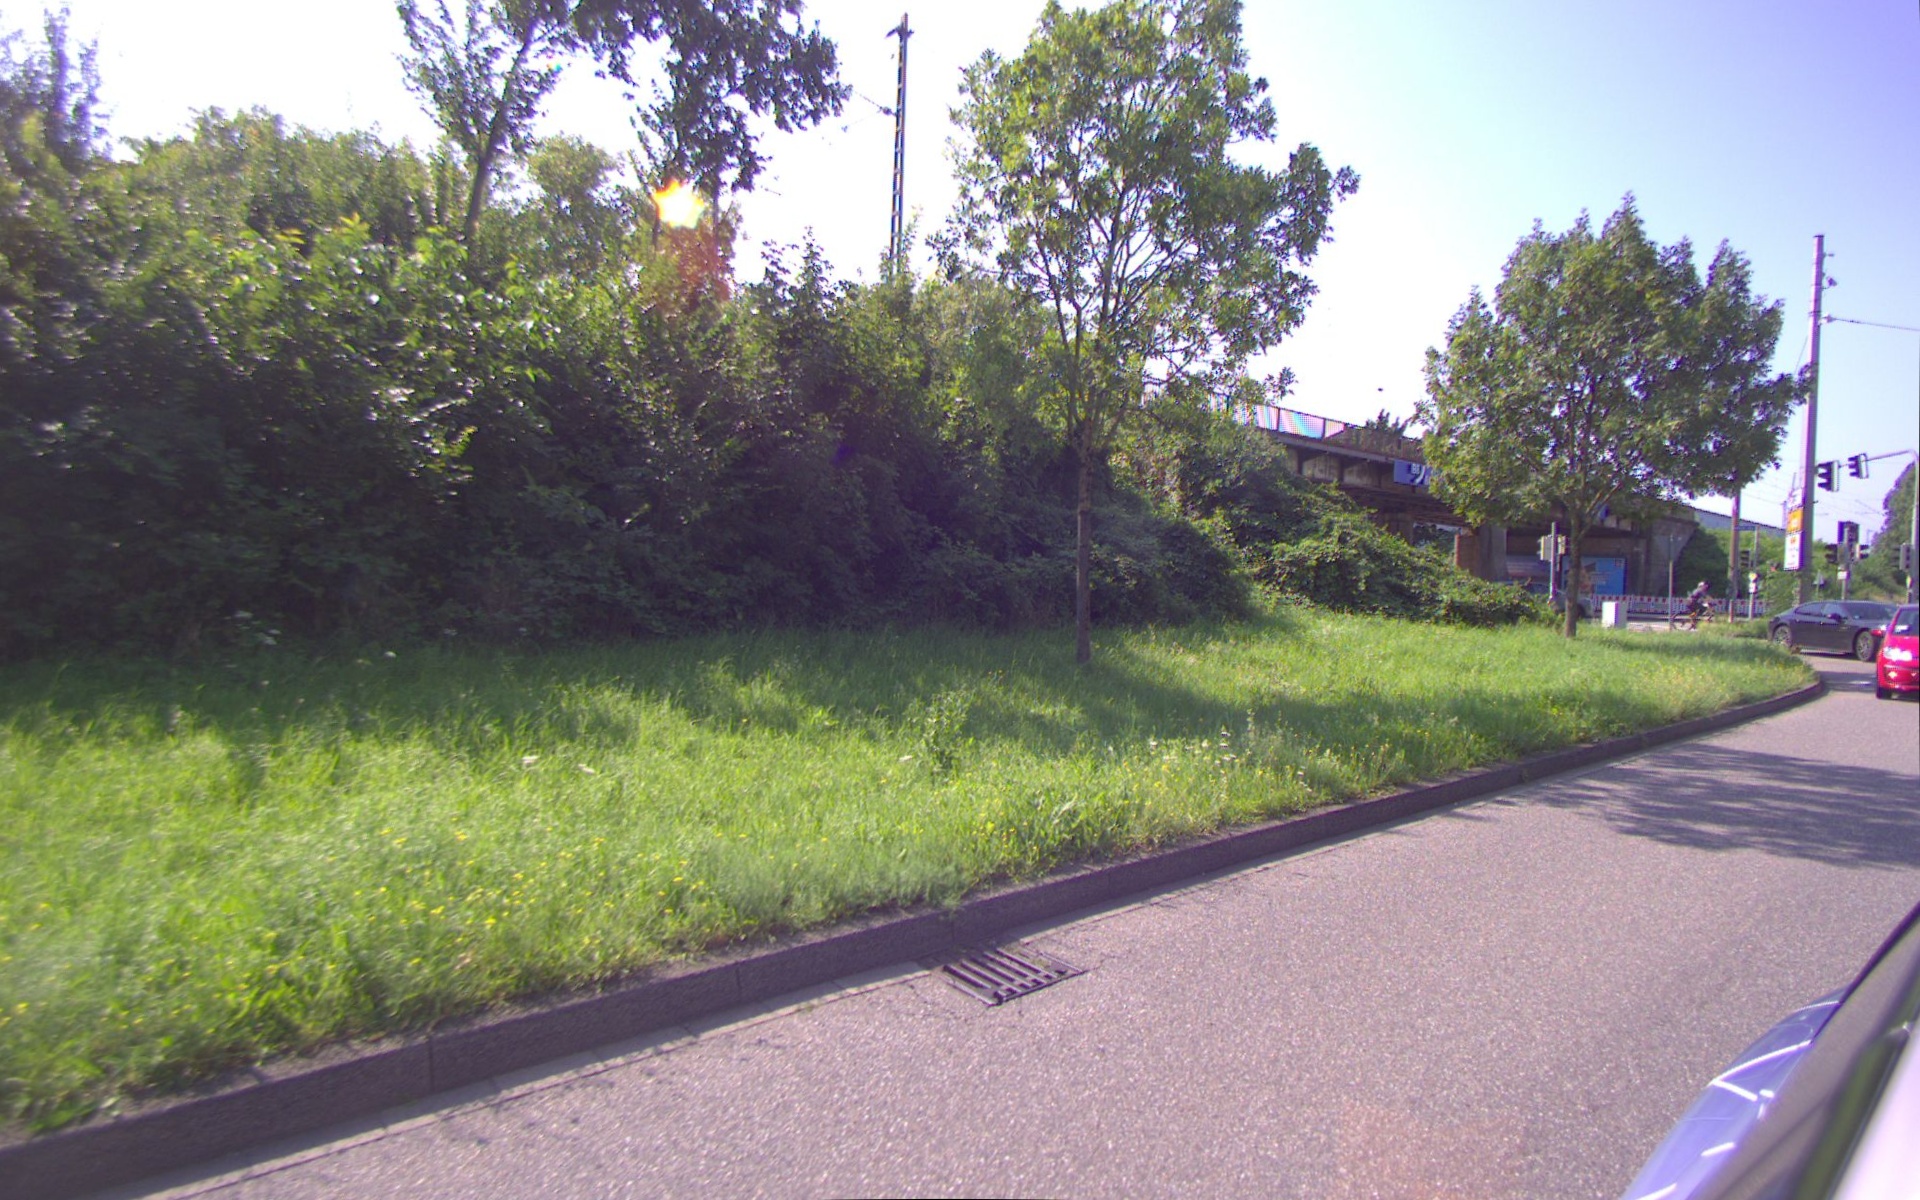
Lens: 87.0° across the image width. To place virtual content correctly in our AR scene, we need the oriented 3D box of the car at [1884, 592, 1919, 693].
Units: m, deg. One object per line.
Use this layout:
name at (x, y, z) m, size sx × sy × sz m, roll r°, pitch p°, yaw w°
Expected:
car at (15.744, 0.629, 15.595) m, size 3.488 × 1.486 × 1.642 m, roll 1°, pitch -2°, yaw -38°

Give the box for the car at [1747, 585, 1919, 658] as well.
car at (22.590, 0.472, 25.676) m, size 1.967 × 1.480 × 4.877 m, roll 1°, pitch 3°, yaw 9°

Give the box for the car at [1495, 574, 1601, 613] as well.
car at (26.197, -0.310, 45.182) m, size 3.639 × 1.557 × 1.721 m, roll 2°, pitch 2°, yaw 12°

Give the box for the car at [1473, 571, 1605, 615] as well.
car at (24.177, -0.312, 42.410) m, size 4.415 × 1.636 × 1.898 m, roll 2°, pitch 3°, yaw 18°

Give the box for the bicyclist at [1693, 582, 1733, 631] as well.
bicyclist at (26.497, 0.224, 35.629) m, size 0.961 × 1.678 × 0.706 m, roll 2°, pitch 1°, yaw 27°

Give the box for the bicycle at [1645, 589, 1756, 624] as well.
bicycle at (26.129, 0.211, 35.815) m, size 2.950 × 1.062 × 1.223 m, roll 3°, pitch 1°, yaw 27°
